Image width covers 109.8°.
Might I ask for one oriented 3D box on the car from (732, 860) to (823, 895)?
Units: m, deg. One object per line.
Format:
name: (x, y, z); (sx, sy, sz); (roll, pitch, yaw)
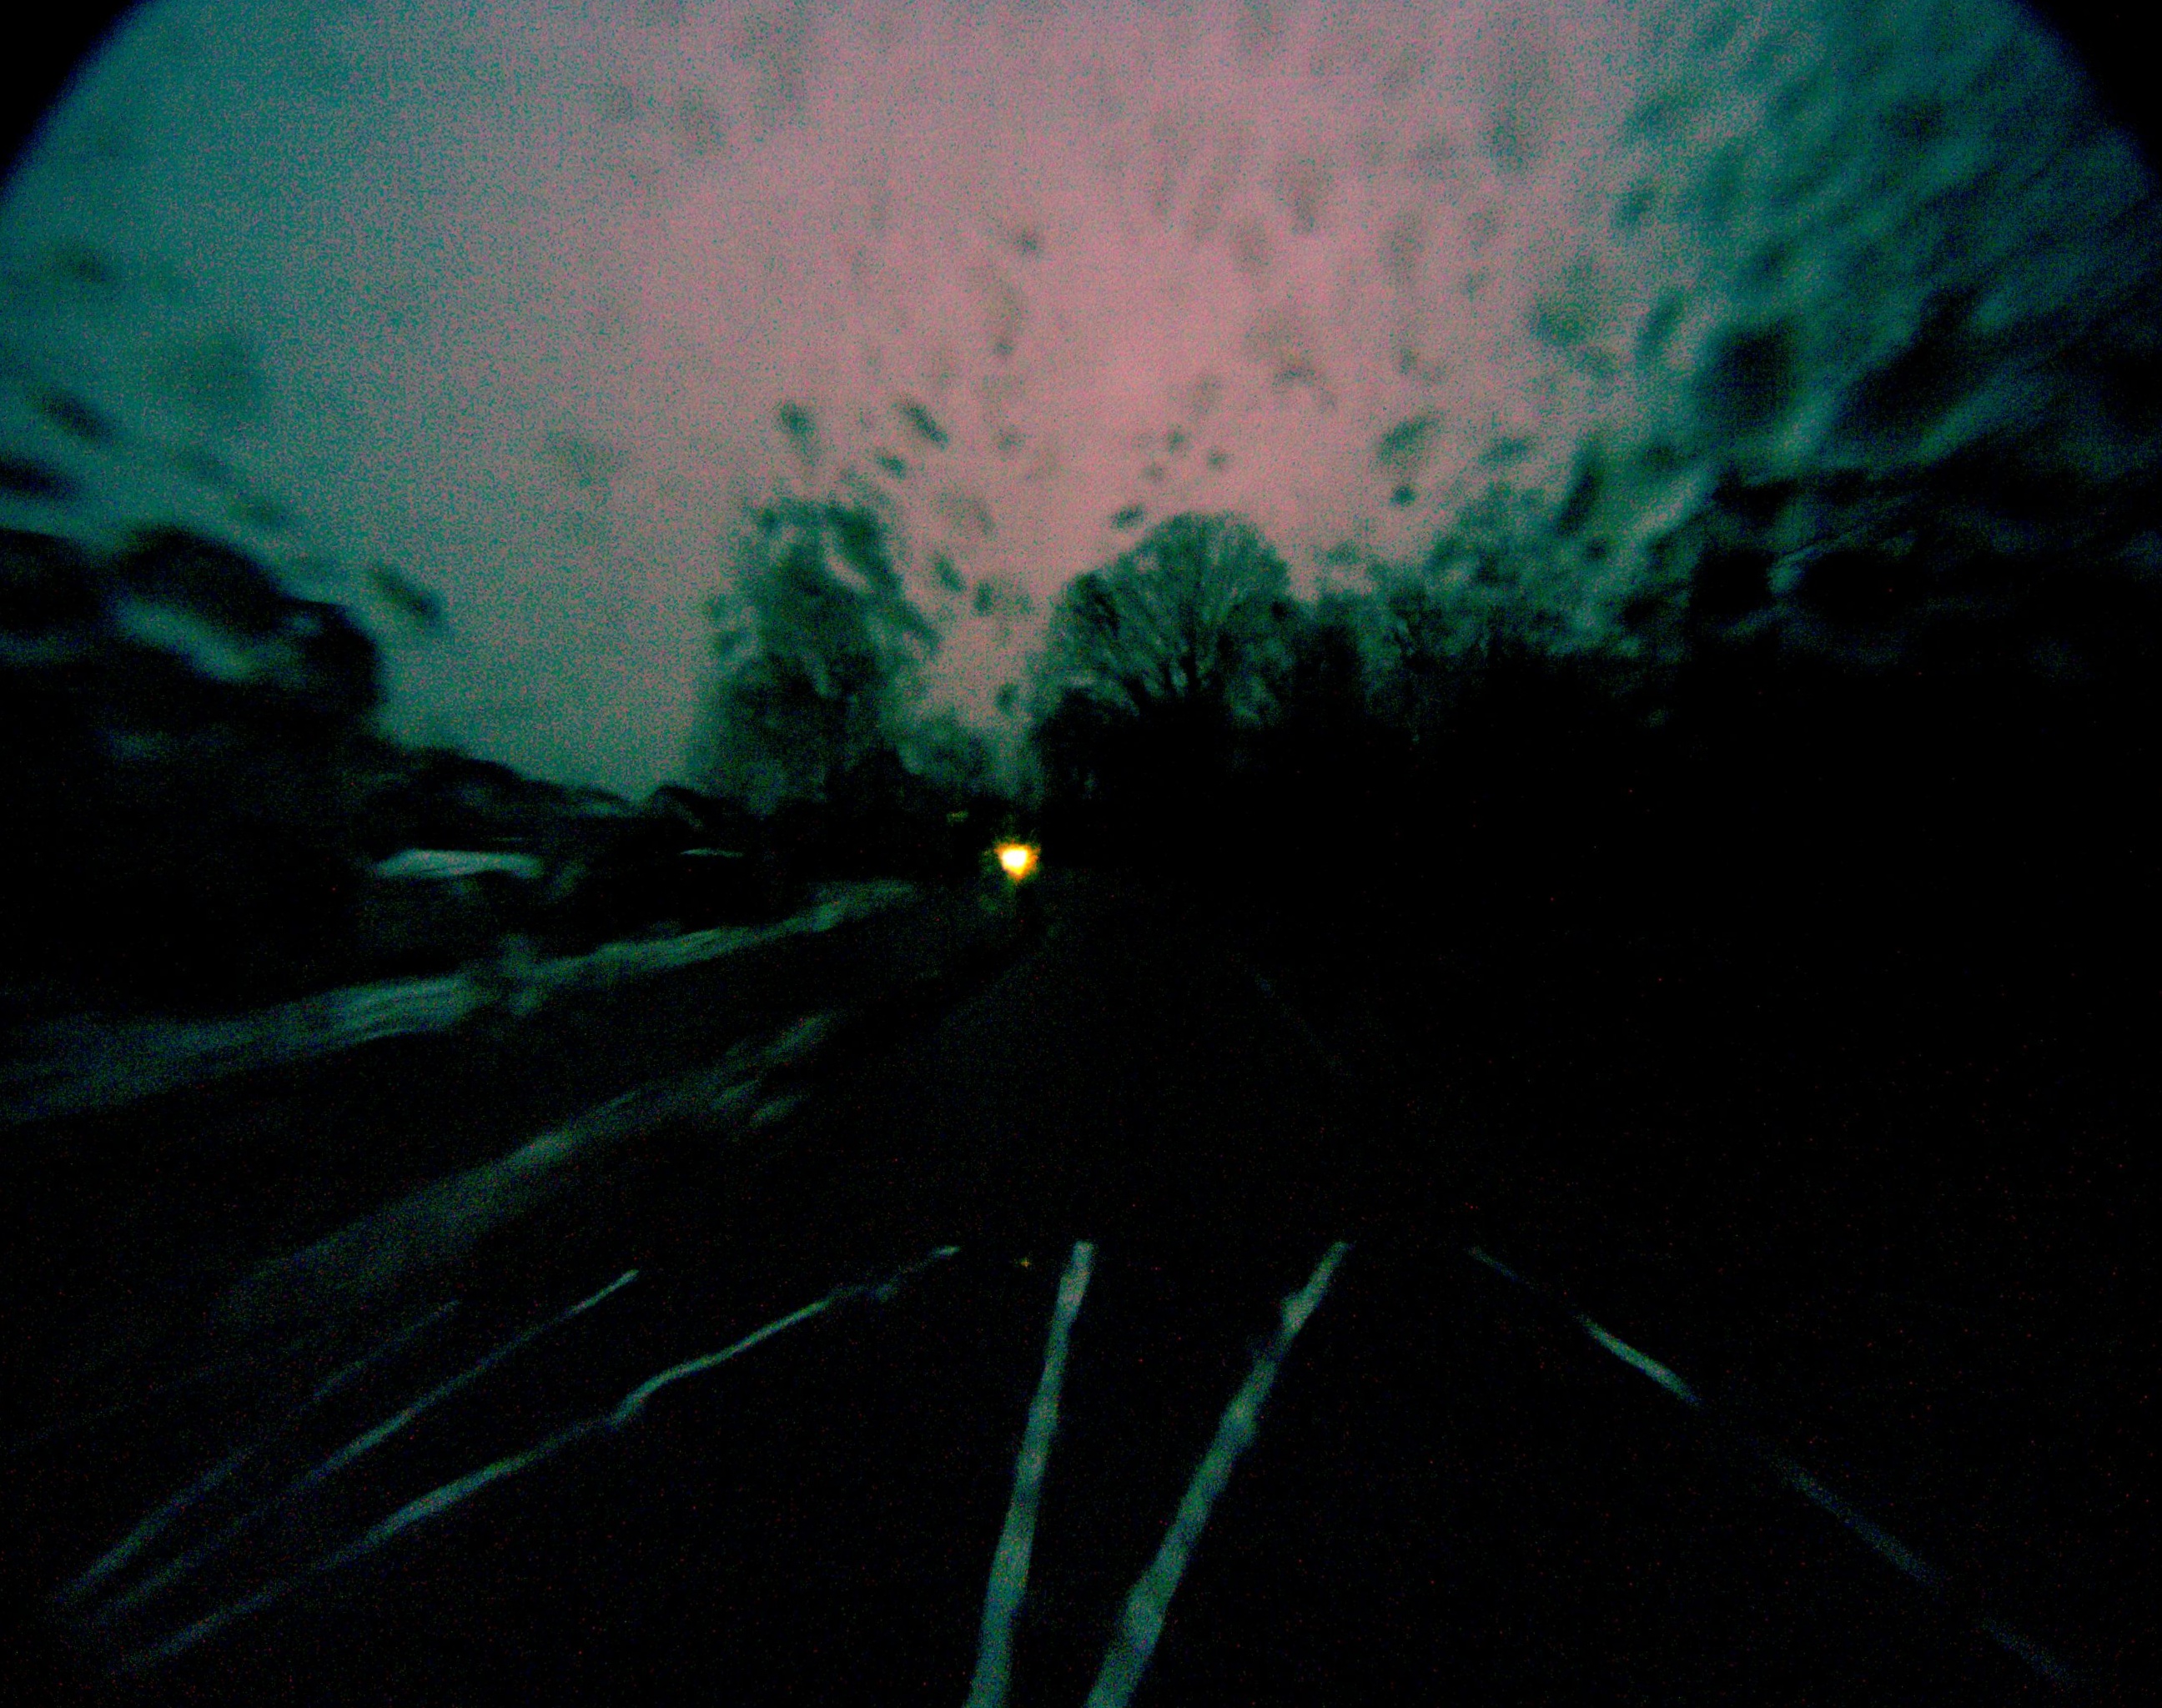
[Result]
car: (-14.859, 1.152, 37.389); (3.795, 1.587, 1.802); (1, 0, -10)

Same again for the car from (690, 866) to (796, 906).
car: (-14.311, 1.361, 32.357); (3.795, 1.587, 1.802); (1, 0, -10)

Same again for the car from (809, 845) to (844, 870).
car: (-18.151, 0.250, 54.383); (1.643, 1.465, 3.734); (1, 4, -7)

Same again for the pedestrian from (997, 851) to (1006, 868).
pedestrian: (-7.741, 0.529, 73.897); (0.746, 1.645, 0.970); (1, 0, -8)

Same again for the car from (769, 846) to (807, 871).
car: (-20.806, 0.282, 54.022); (1.643, 1.465, 3.734); (1, 4, -7)
